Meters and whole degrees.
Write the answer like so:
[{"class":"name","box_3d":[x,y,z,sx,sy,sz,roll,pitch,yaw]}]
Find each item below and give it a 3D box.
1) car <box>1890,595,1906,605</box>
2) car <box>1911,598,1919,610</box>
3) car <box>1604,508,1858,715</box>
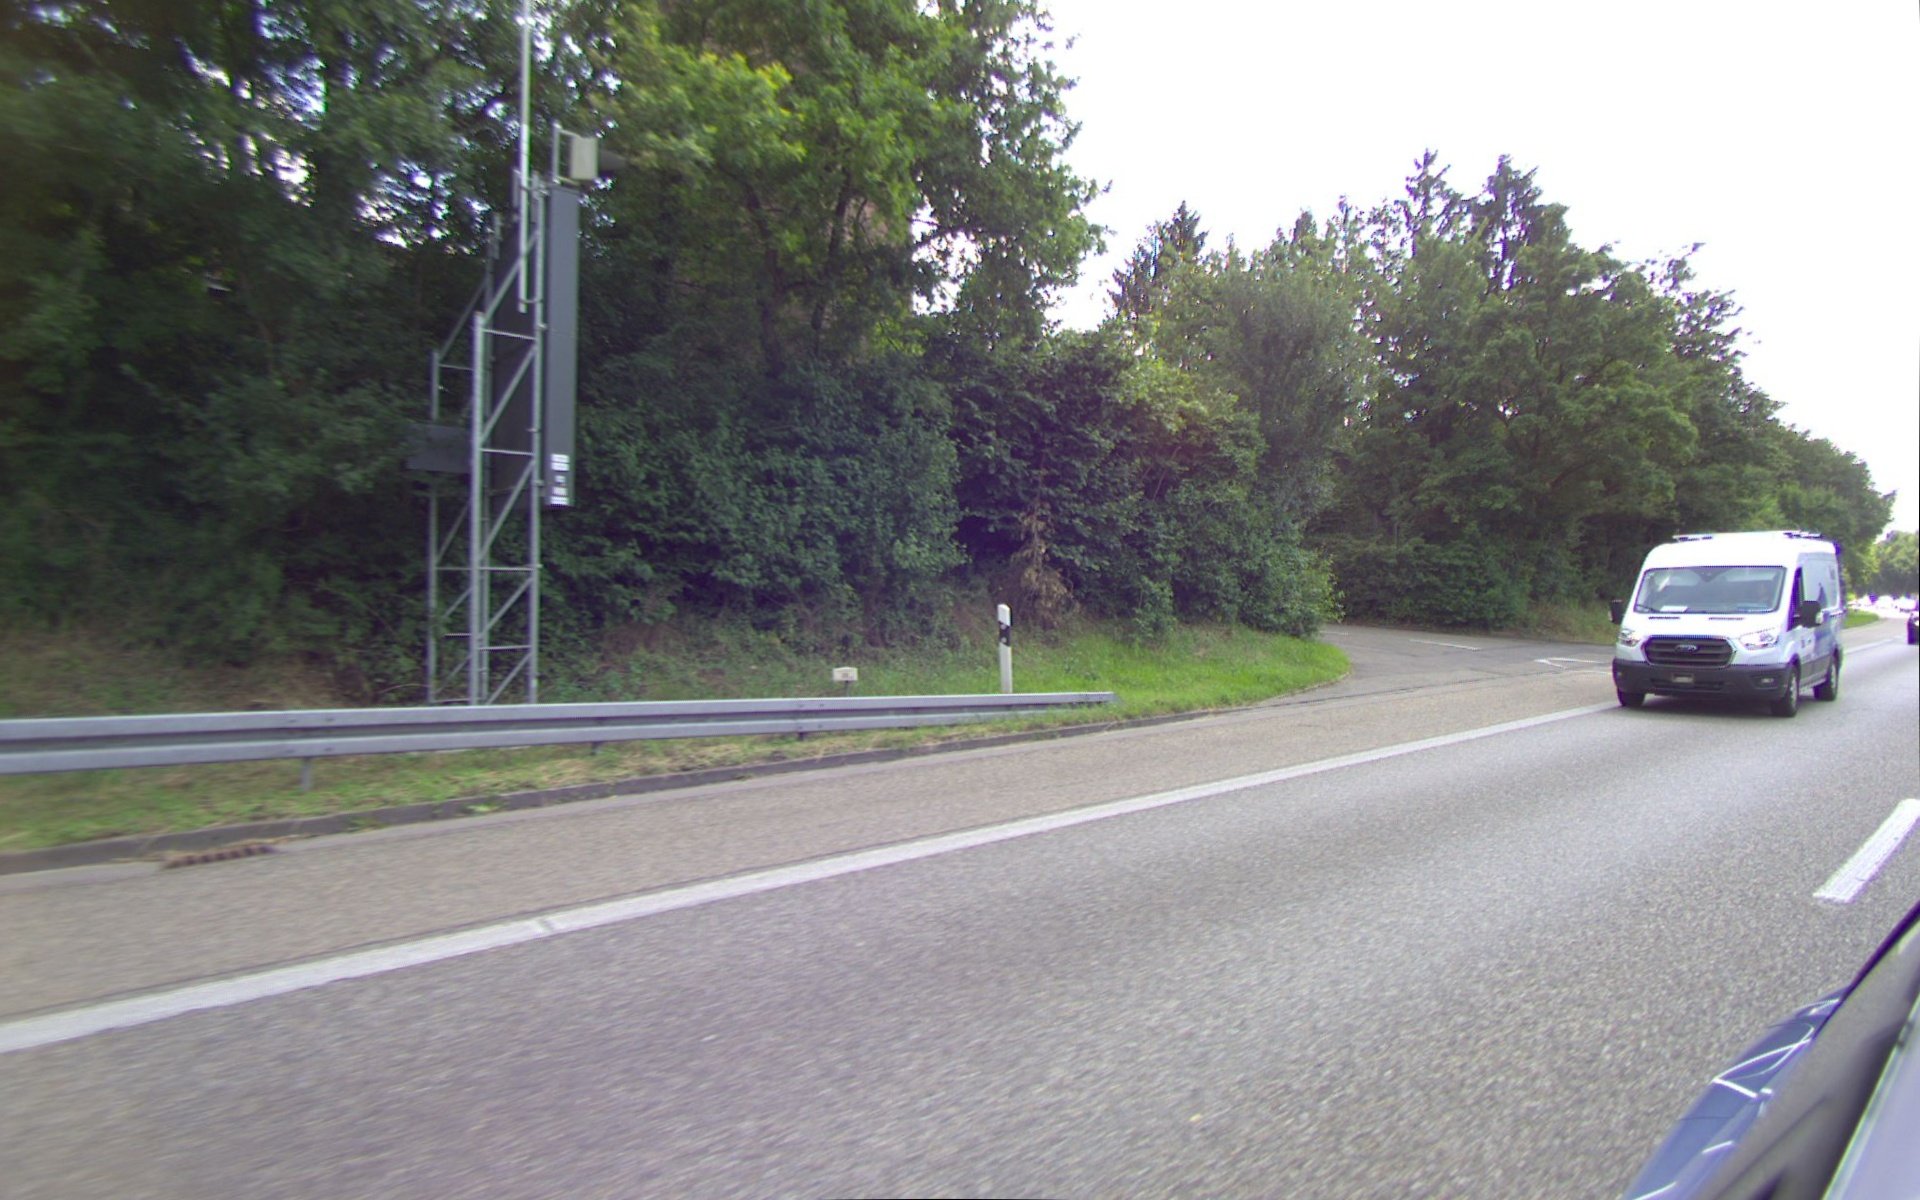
[{"class":"car","box_3d":[155.620,-0.053,167.854,1.779,1.540,3.941,2,1,41]},{"class":"car","box_3d":[127.308,0.572,134.153,1.781,1.540,3.938,2,1,43]},{"class":"car","box_3d":[11.534,0.135,14.980,5.189,2.539,2.101,0,0,-42]}]
